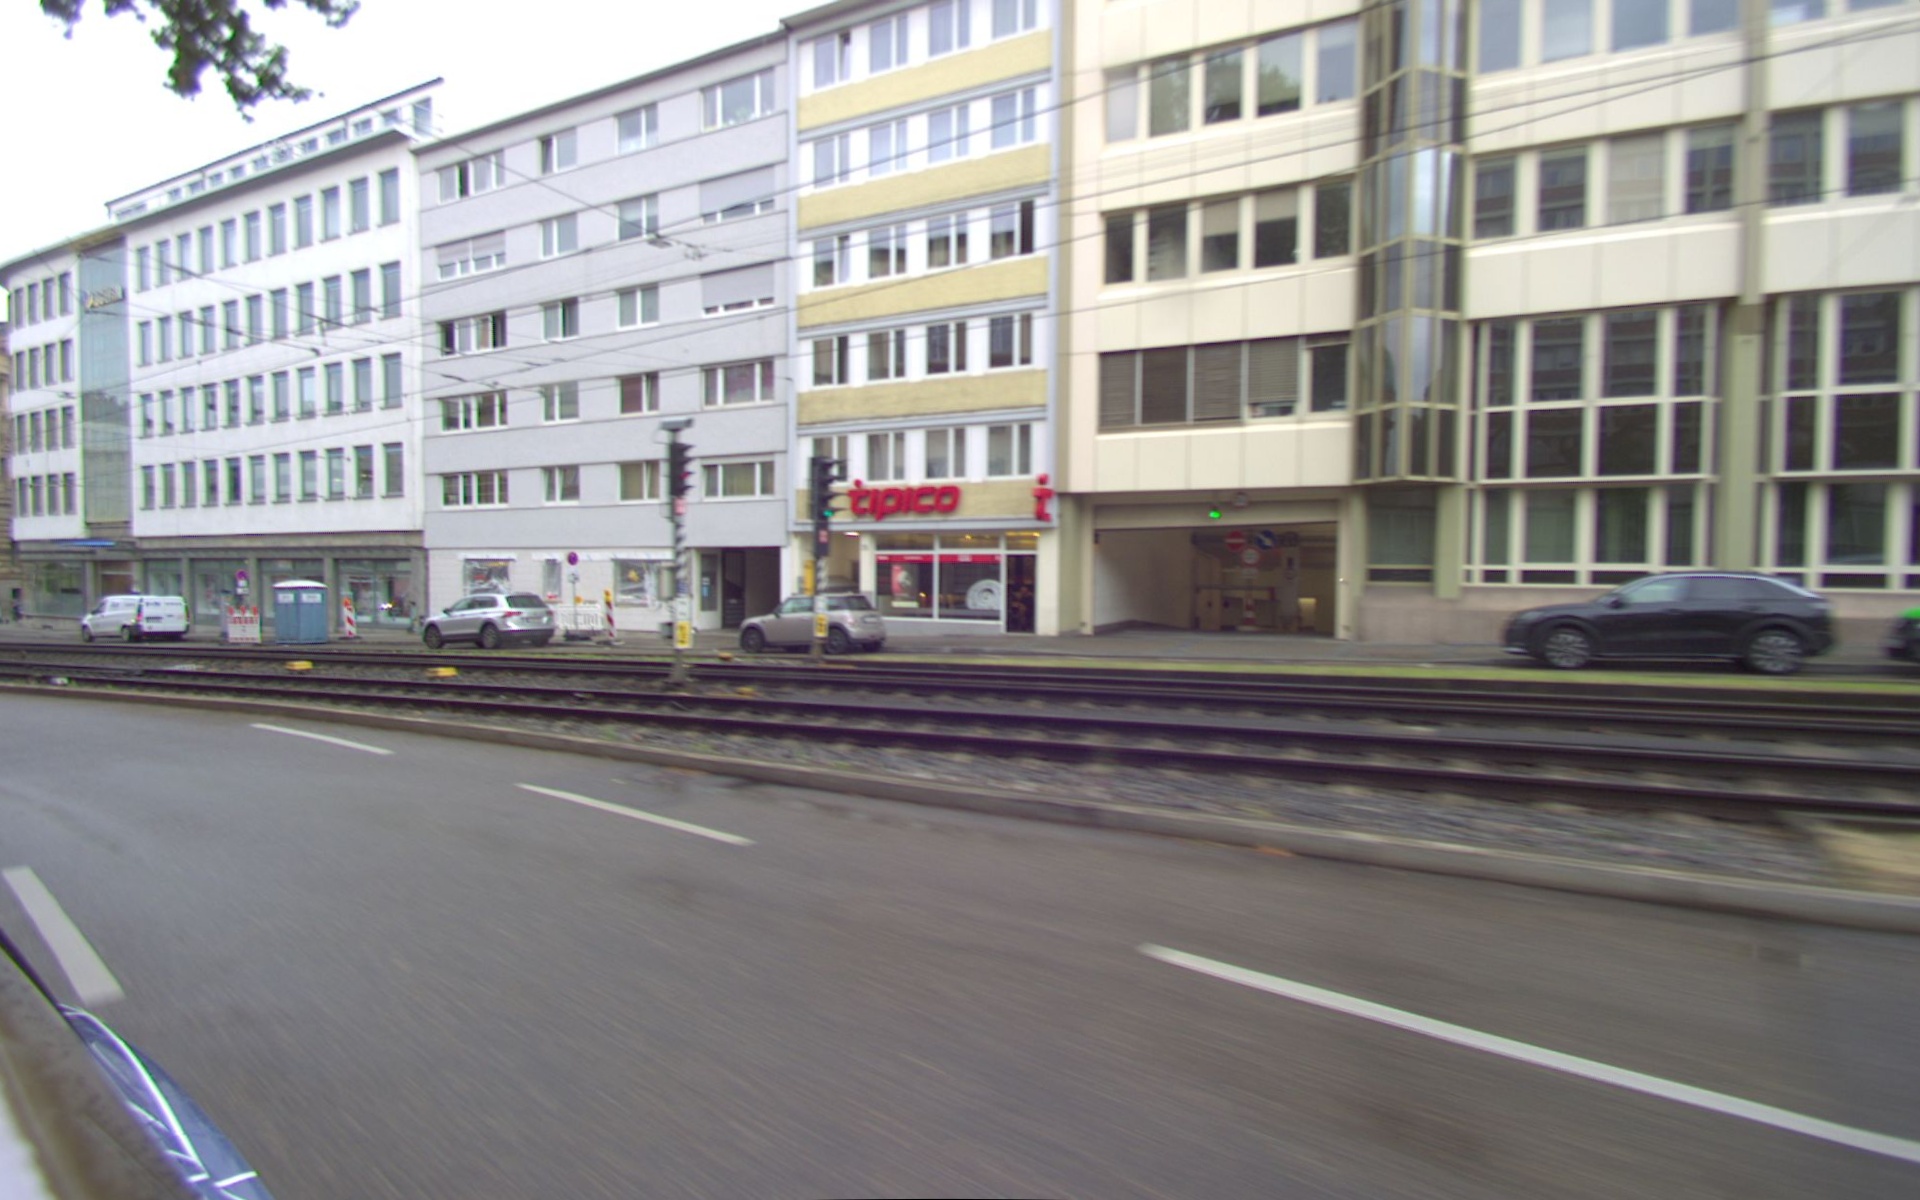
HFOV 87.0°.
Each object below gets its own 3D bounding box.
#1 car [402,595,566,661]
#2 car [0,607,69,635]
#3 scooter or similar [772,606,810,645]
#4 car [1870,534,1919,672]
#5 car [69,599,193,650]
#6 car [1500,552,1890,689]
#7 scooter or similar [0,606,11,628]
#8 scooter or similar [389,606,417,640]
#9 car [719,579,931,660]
[{"bbox_3d":[-14.037,0.840,29.798,4.676,1.686,1.981,-2,2,30],"label":"car"},{"bbox_3d":[-57.968,1.269,62.994,1.756,1.408,4.337,-2,3,-11],"label":"car"},{"bbox_3d":[-4.784,0.717,28.683,0.969,1.040,0.378,-4,1,29],"label":"scooter or similar"},{"bbox_3d":[15.473,0.001,13.402,4.672,1.863,1.982,0,3,27],"label":"car"},{"bbox_3d":[-33.616,0.941,41.006,5.106,1.856,1.982,0,3,27],"label":"car"},{"bbox_3d":[11.181,0.246,15.927,4.672,1.863,1.982,0,3,27],"label":"car"},{"bbox_3d":[-55.192,0.961,58.413,0.404,1.209,1.563,-3,3,-38],"label":"scooter or similar"},{"bbox_3d":[-20.558,0.828,37.339,0.969,1.211,0.378,0,3,28],"label":"scooter or similar"},{"bbox_3d":[-3.208,0.416,23.934,4.672,1.686,1.982,0,3,27],"label":"car"}]
